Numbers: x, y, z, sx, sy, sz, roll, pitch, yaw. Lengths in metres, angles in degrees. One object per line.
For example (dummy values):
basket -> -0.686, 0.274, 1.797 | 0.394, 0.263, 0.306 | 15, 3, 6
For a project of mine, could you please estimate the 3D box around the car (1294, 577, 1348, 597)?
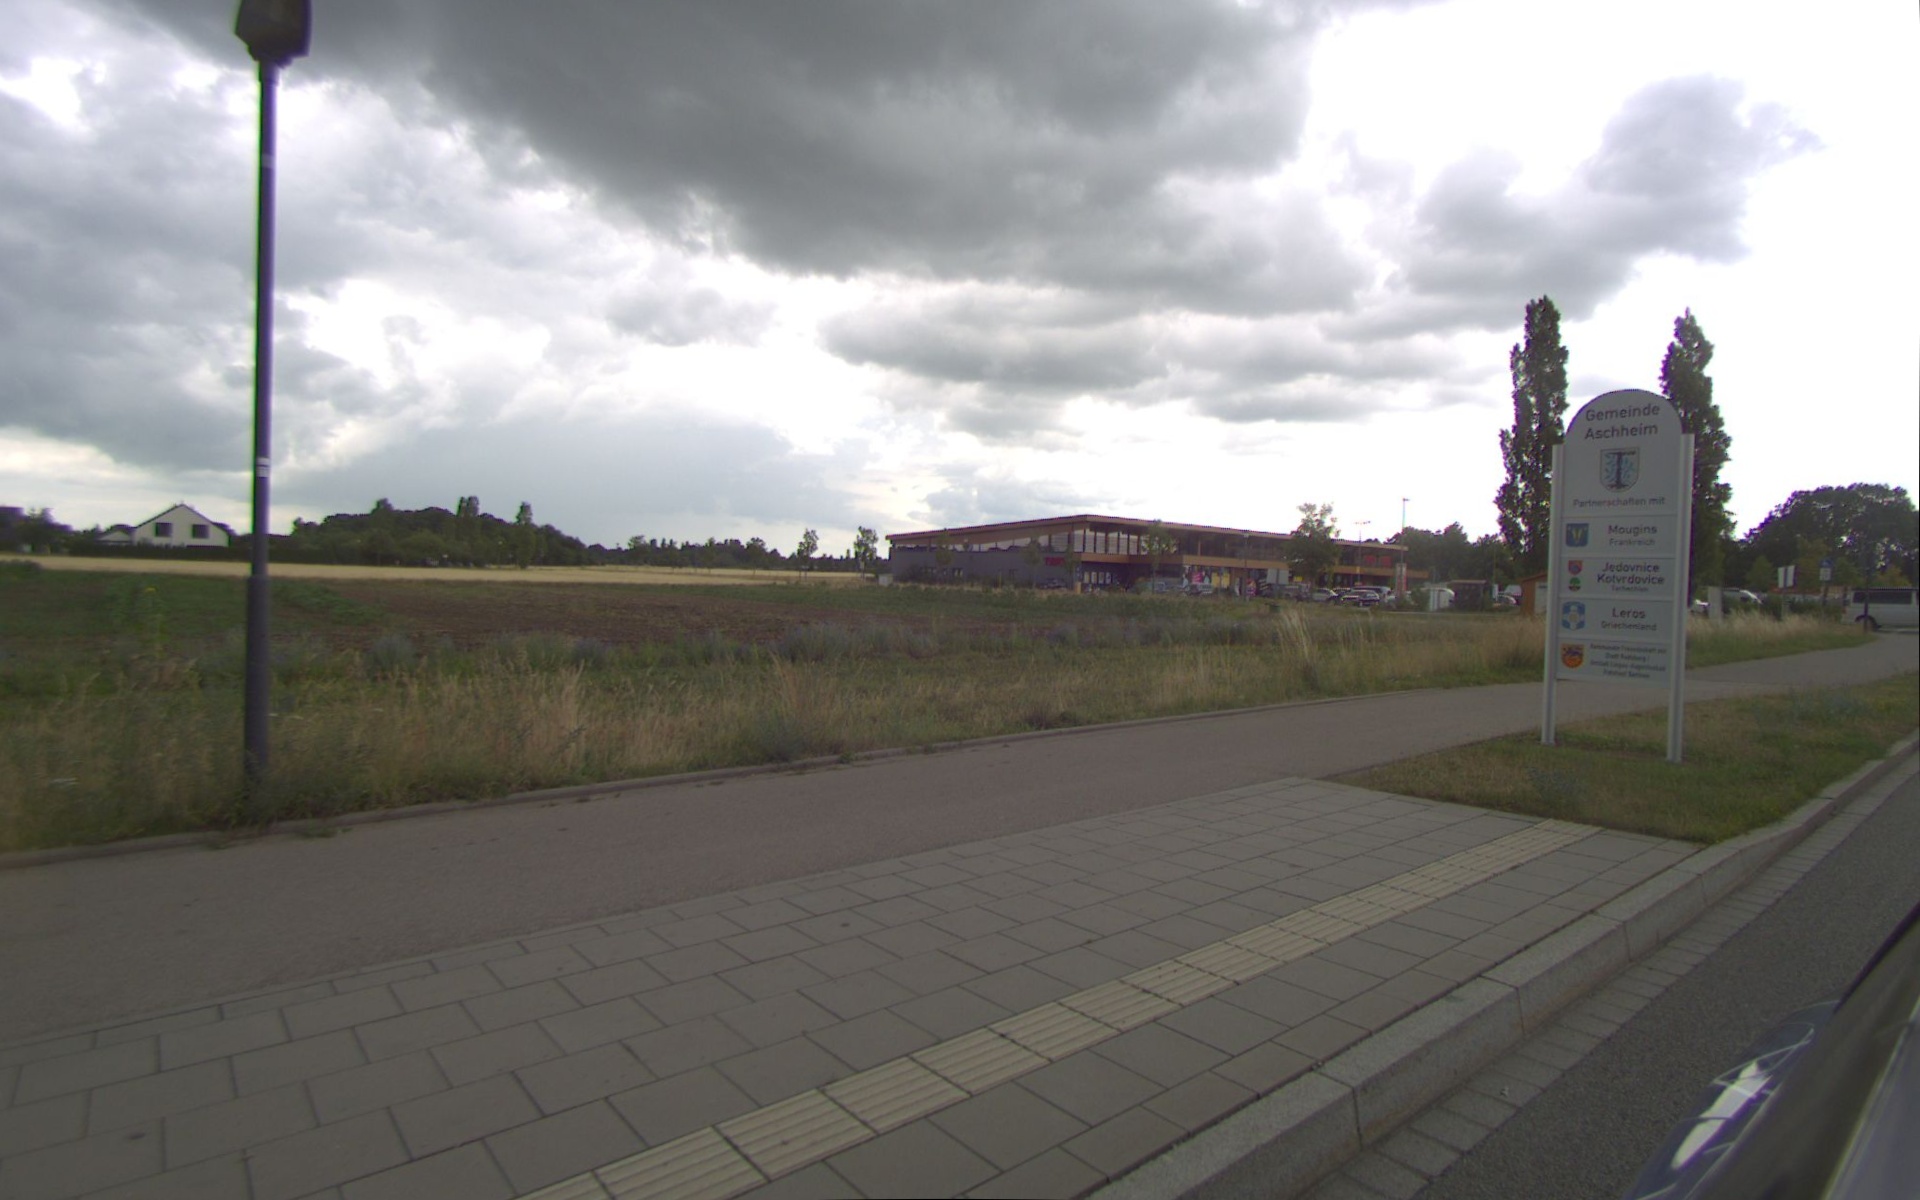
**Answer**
car -> 36.966, -1.344, 103.600 | 4.840, 2.039, 1.970 | 0, 1, 43

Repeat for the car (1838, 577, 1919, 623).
car -> 43.418, 0.002, 45.731 | 2.516, 2.039, 5.312 | -1, 1, -39

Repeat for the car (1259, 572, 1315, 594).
car -> 31.985, -1.632, 98.980 | 4.840, 2.039, 1.970 | 0, 1, 43

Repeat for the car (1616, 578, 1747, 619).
car -> 37.909, -0.105, 53.303 | 1.964, 2.039, 5.312 | -1, 1, -39

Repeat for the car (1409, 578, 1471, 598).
car -> 50.171, -1.213, 105.819 | 5.510, 2.039, 1.969 | 0, 1, 44

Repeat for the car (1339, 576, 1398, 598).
car -> 38.866, -1.257, 96.278 | 4.840, 2.039, 1.970 | 0, 1, 43

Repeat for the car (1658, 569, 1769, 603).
car -> 47.988, -0.883, 64.533 | 5.510, 2.039, 1.969 | 0, 1, 44
